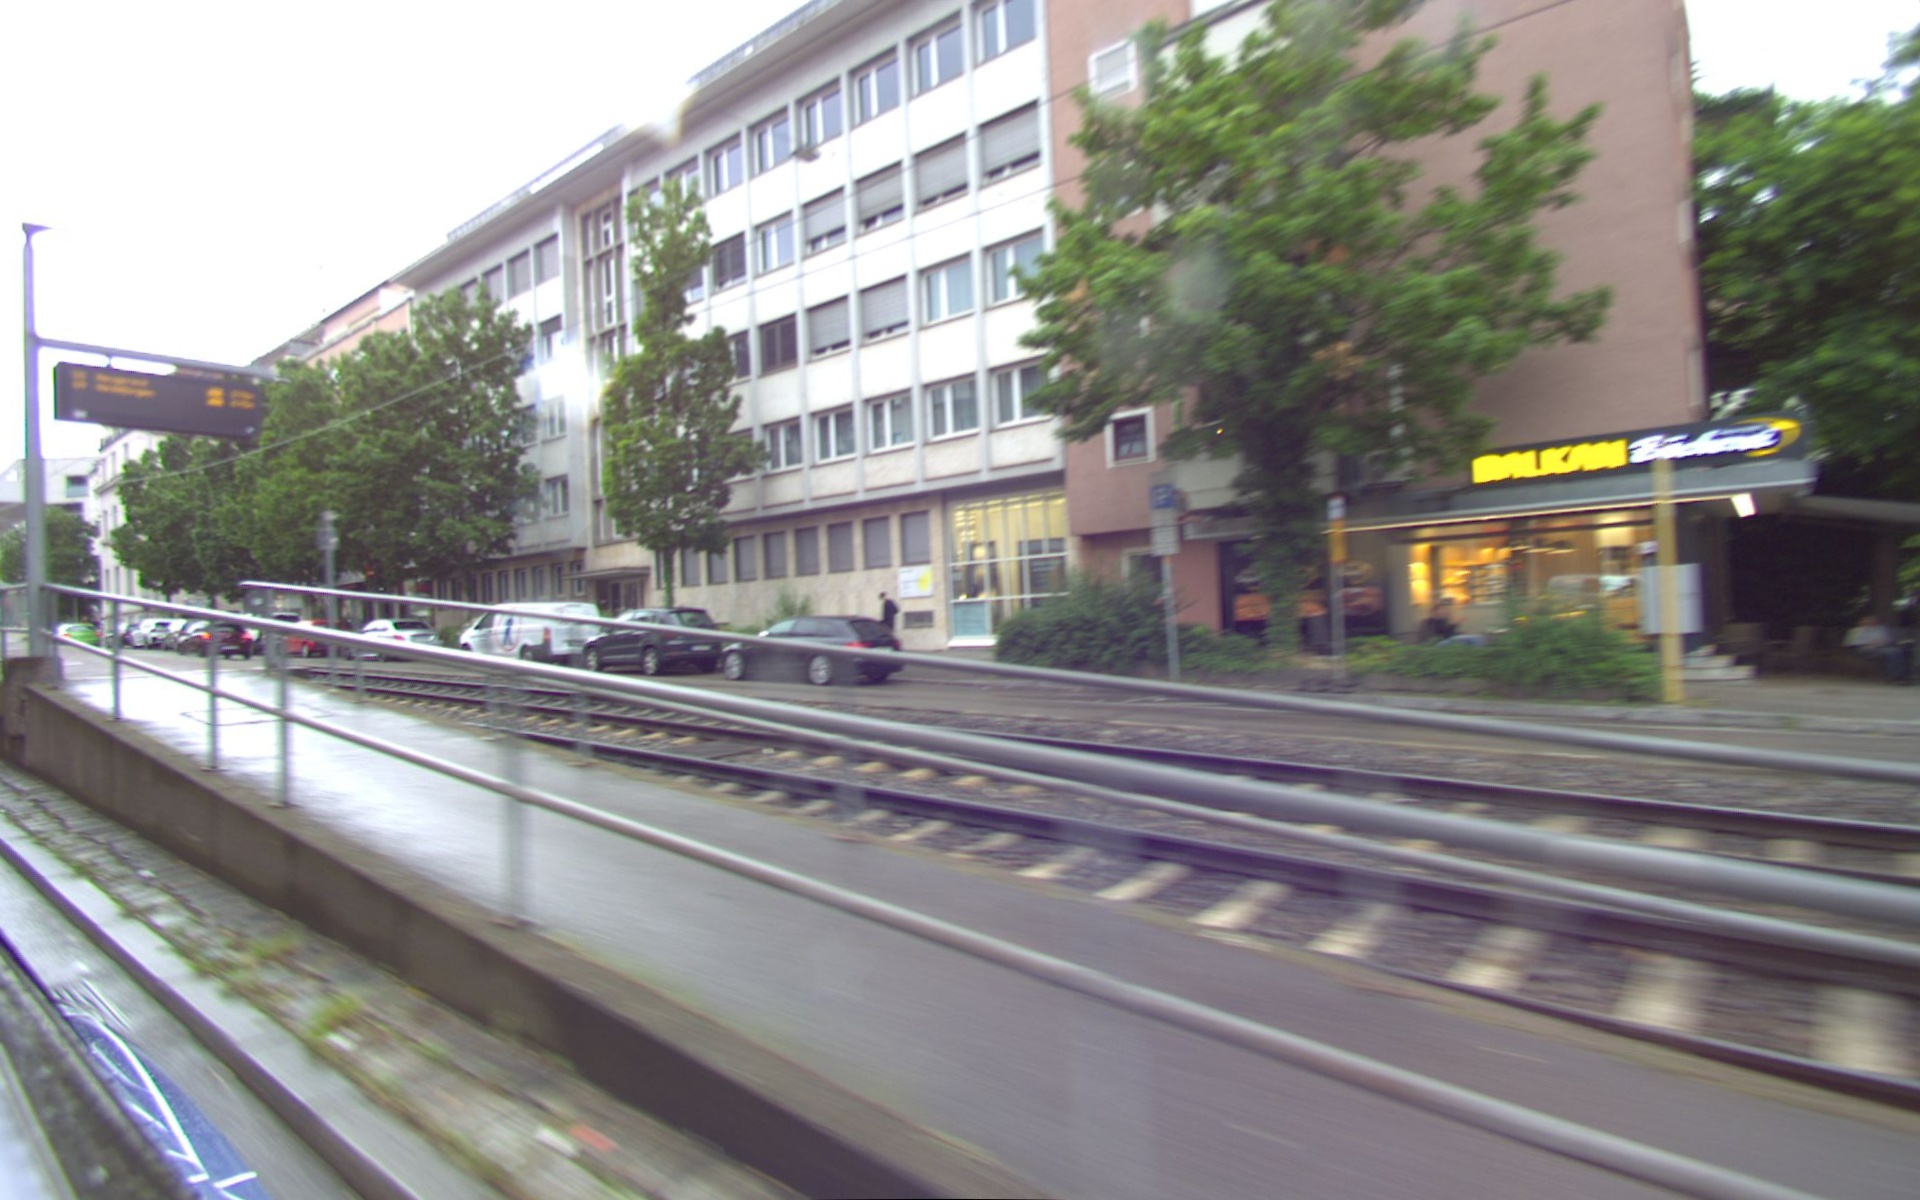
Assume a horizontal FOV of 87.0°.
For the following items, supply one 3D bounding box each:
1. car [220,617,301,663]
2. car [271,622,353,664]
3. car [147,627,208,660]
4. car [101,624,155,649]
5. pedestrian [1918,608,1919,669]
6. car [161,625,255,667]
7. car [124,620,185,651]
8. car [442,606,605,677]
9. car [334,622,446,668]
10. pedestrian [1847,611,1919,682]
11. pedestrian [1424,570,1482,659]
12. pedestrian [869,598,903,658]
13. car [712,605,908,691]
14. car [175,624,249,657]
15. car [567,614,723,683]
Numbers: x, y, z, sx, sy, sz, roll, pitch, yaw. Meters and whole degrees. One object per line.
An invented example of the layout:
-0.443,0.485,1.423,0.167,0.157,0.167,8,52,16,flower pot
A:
-30.263,1.696,43.735,4.427,1.831,1.657,-1,-1,39,car
-25.697,1.682,40.098,3.799,1.551,1.623,-1,-1,39,car
-38.896,2.131,50.283,4.019,1.549,1.622,-1,-1,40,car
-47.893,2.081,58.220,4.455,1.386,1.696,-1,-1,41,car
15.372,0.722,15.766,0.608,1.187,0.668,-2,-1,45,pedestrian
-28.640,1.698,38.512,4.523,1.473,1.676,-1,0,37,car
-43.482,1.879,54.631,4.332,1.596,1.642,-1,-1,38,car
-12.641,1.141,29.151,5.247,1.858,1.890,-1,-1,36,car
-19.666,1.507,34.836,4.523,1.473,1.676,-1,0,37,car
15.722,0.785,17.246,0.601,1.187,0.676,-1,-1,7,pedestrian
9.058,0.270,18.609,0.818,1.608,0.553,-2,-1,41,pedestrian
-1.986,0.742,27.197,0.583,1.569,0.693,-1,-1,33,pedestrian
-3.263,0.959,21.466,4.367,1.636,1.622,-1,-1,40,car
-34.993,1.862,47.289,4.724,1.451,1.623,-1,-1,39,car
-7.905,1.152,25.230,4.367,1.548,1.622,-1,-1,40,car
